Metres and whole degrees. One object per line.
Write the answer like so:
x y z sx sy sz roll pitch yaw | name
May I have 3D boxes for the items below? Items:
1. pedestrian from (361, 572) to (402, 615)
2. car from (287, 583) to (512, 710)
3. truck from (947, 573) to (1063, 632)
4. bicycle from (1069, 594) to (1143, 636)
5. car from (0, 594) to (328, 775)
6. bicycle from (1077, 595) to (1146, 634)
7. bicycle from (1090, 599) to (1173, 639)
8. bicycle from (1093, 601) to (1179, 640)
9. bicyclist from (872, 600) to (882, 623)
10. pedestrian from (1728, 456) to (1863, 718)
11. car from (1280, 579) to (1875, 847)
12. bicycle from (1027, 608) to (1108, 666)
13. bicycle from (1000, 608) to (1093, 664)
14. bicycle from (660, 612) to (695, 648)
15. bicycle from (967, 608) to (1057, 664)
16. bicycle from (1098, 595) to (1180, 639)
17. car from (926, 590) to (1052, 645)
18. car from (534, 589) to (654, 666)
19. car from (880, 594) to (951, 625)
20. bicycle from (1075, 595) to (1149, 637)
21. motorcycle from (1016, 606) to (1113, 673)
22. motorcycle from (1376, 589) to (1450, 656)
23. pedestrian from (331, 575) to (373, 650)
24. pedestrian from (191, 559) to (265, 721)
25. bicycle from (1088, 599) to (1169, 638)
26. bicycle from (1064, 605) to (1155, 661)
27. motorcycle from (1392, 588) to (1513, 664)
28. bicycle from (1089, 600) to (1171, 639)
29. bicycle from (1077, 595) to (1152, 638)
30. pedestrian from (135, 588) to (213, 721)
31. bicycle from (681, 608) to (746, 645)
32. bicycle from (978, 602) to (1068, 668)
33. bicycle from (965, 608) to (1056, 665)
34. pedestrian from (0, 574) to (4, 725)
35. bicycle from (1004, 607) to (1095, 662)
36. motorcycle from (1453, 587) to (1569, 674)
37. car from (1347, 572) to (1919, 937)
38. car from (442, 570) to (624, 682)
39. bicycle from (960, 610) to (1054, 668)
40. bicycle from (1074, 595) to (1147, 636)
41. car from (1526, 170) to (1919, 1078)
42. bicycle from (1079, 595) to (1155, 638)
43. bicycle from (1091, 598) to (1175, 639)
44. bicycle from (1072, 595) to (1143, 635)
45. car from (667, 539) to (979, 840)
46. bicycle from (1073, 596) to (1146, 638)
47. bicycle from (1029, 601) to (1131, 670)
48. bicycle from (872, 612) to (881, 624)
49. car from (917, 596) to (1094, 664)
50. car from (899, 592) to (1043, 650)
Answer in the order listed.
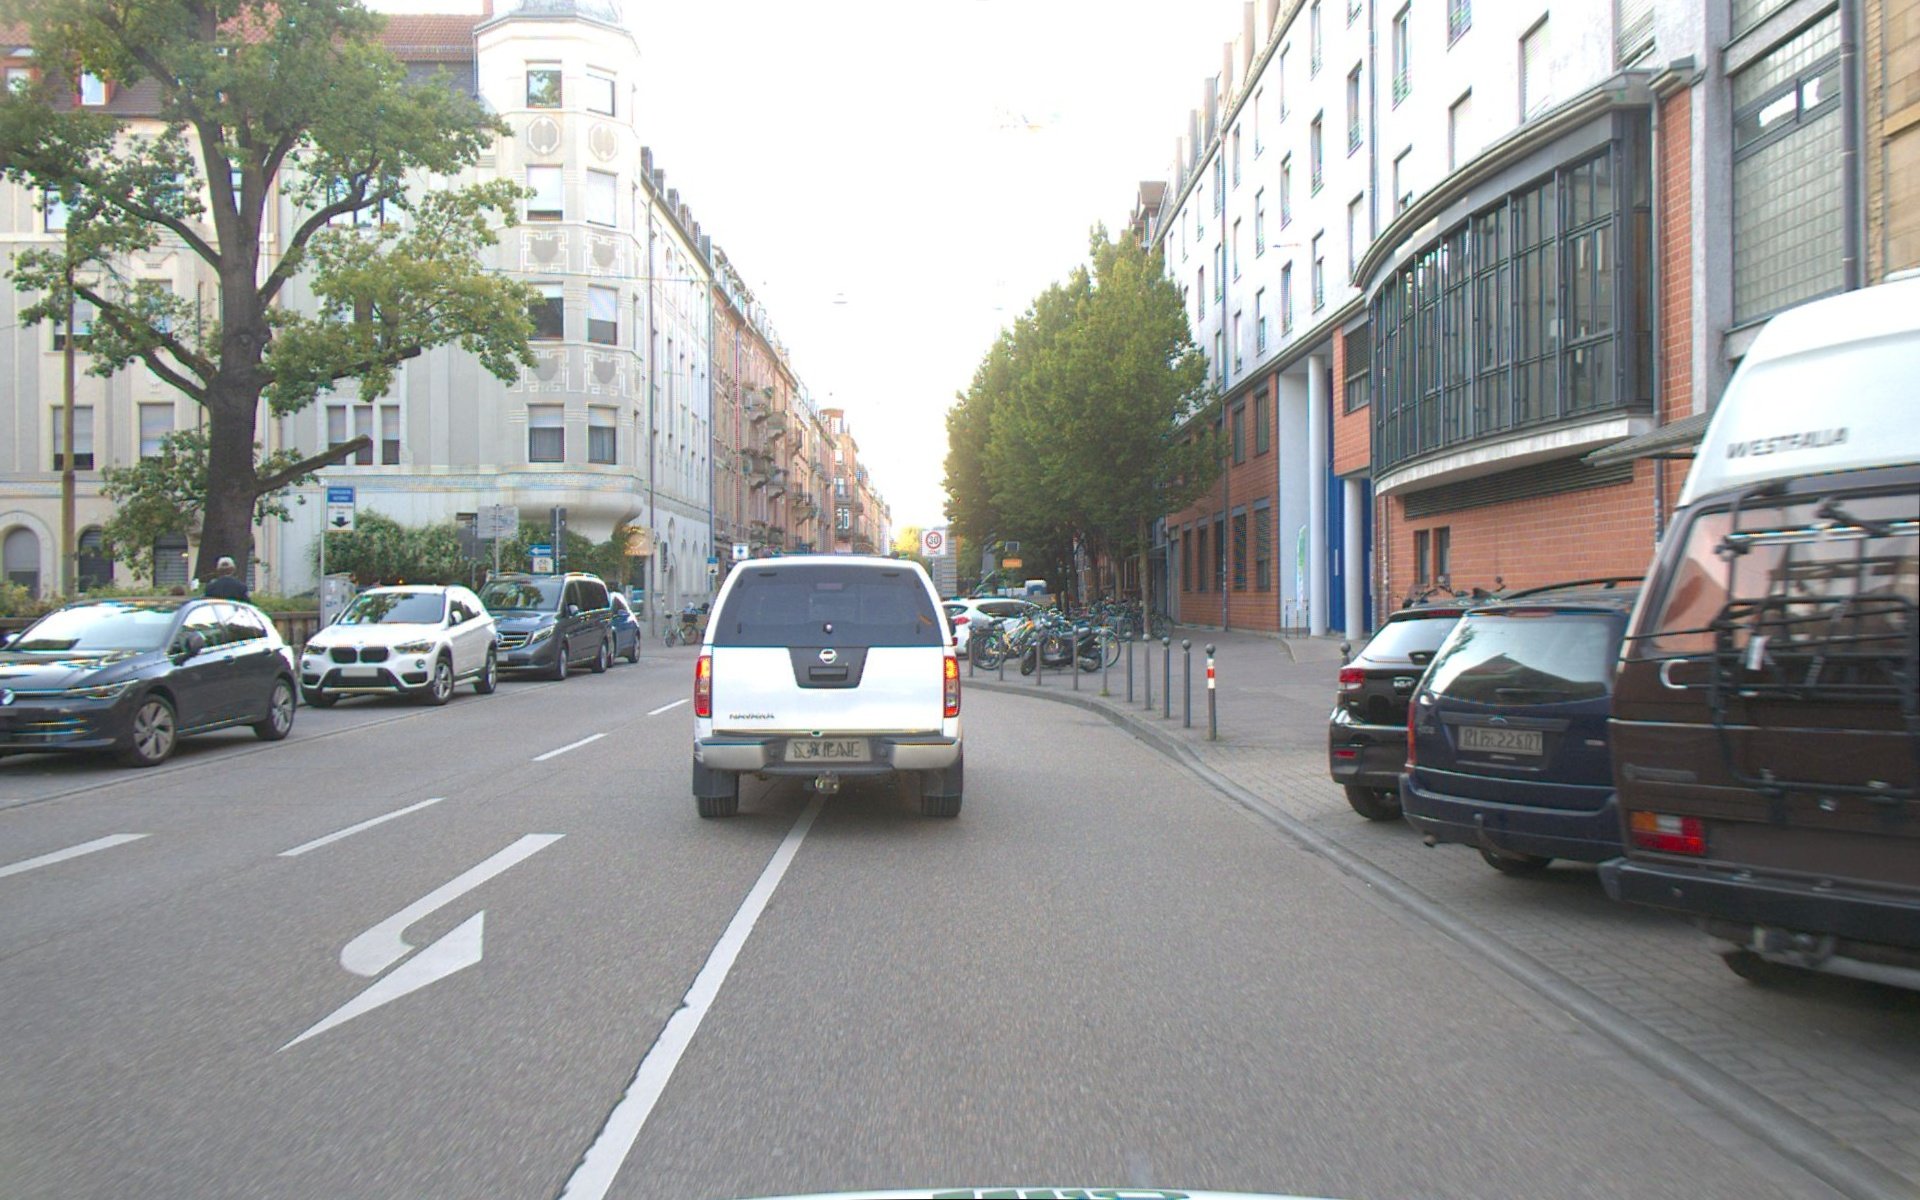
-13.732 -0.150 39.282 0.692 0.997 0.836 -1 0 -3 | pedestrian
-7.854 0.605 23.645 1.833 1.619 4.466 -1 0 -2 | car
2.422 0.135 89.418 6.190 3.029 2.264 0 -3 1 | truck
5.224 0.529 59.293 2.483 1.266 0.599 -6 0 2 | bicycle
-7.707 0.691 15.637 1.746 1.460 4.316 -1 0 1 | car
5.528 0.535 60.444 2.482 1.403 0.599 -1 0 2 | bicycle
5.251 0.587 50.745 2.482 1.187 0.562 -1 0 2 | bicycle
5.251 0.610 49.475 2.482 0.976 0.680 -4 0 2 | bicycle
-7.020 0.959 139.571 0.784 1.882 0.943 0 0 -3 | bicyclist
6.816 -0.108 13.520 0.594 2.048 0.858 2 0 1 | pedestrian
4.241 0.631 11.199 4.017 1.518 1.705 -1 0 -32 | car
2.114 0.729 32.618 1.509 1.056 0.471 -2 0 -2 | bicycle
1.748 0.732 33.659 1.820 1.056 0.402 -2 0 -3 | bicycle
-8.651 0.919 50.710 0.414 1.030 1.720 0 1 13 | bicycle
1.086 0.748 34.687 1.820 1.084 0.445 -2 0 -2 | bicycle
5.215 0.496 48.267 2.298 1.118 0.680 -4 0 2 | bicycle
0.893 0.509 50.520 3.562 1.608 1.696 -1 0 -34 | car
-7.876 0.558 35.896 1.606 1.583 4.005 0 0 1 | car
-2.677 0.589 99.758 4.107 1.811 1.821 0 0 5 | car
5.173 0.541 56.330 2.482 1.403 0.599 -1 0 2 | bicycle
1.902 0.714 30.161 1.614 1.121 0.646 -3 0 -10 | motorcycle
8.047 0.386 29.475 0.576 1.122 2.082 -3 0 -4 | motorcycle
-14.438 0.289 39.283 0.692 1.751 0.836 -1 0 -3 | pedestrian
-8.970 0.476 20.281 0.570 1.939 0.802 -1 0 -4 | pedestrian
5.280 0.591 51.980 2.482 1.187 0.562 -1 0 2 | bicycle
3.110 0.689 34.474 1.820 1.084 0.524 -2 0 -2 | bicycle
8.019 0.411 27.062 0.762 1.159 2.408 -2 0 -13 | motorcycle
5.272 0.594 51.369 2.482 1.187 0.562 -1 0 2 | bicycle
5.188 0.547 55.698 2.482 1.403 0.599 -1 0 2 | bicycle
-9.585 0.650 20.193 0.570 1.579 0.838 0 0 -4 | pedestrian
-7.709 0.825 51.731 2.068 1.114 0.501 0 1 24 | bicycle
1.209 0.670 32.012 1.673 1.196 0.471 -2 0 -2 | bicycle
1.034 0.740 34.104 1.820 1.084 0.445 -2 0 -2 | bicycle
-10.815 0.543 18.211 0.411 1.650 0.540 0 0 -40 | pedestrian
1.909 0.728 35.535 1.873 1.084 0.524 -2 0 -2 | bicycle
7.949 0.423 24.002 0.783 1.159 2.439 -3 0 -1 | motorcycle
4.338 0.635 8.820 4.294 1.529 1.895 -1 0 -29 | car
-7.801 0.442 30.767 1.952 1.899 5.290 0 0 1 | car
0.937 0.773 33.105 1.820 1.056 0.471 -2 0 -2 | bicycle
5.264 0.544 57.952 2.482 1.403 0.599 -1 0 2 | bicycle
4.527 0.063 6.303 4.661 2.591 1.899 0 -1 -30 | car
5.221 0.545 54.984 2.482 1.403 0.599 -1 0 2 | bicycle
5.230 0.561 50.096 2.482 1.187 0.562 -1 0 2 | bicycle
5.221 0.526 58.598 2.482 1.403 0.599 -1 0 2 | bicycle
-0.886 0.512 12.446 1.894 1.826 4.621 1 1 -1 | car
5.167 0.583 57.159 2.482 1.403 0.599 -1 0 2 | bicycle
2.268 0.668 31.411 1.821 1.166 0.659 -4 0 -1 | bicycle
-7.025 1.509 139.566 0.784 0.963 2.003 0 0 -3 | bicycle
1.110 0.687 39.911 3.945 1.533 1.752 -1 0 -30 | car
0.334 0.578 47.758 3.948 1.564 1.618 -1 0 -32 | car
